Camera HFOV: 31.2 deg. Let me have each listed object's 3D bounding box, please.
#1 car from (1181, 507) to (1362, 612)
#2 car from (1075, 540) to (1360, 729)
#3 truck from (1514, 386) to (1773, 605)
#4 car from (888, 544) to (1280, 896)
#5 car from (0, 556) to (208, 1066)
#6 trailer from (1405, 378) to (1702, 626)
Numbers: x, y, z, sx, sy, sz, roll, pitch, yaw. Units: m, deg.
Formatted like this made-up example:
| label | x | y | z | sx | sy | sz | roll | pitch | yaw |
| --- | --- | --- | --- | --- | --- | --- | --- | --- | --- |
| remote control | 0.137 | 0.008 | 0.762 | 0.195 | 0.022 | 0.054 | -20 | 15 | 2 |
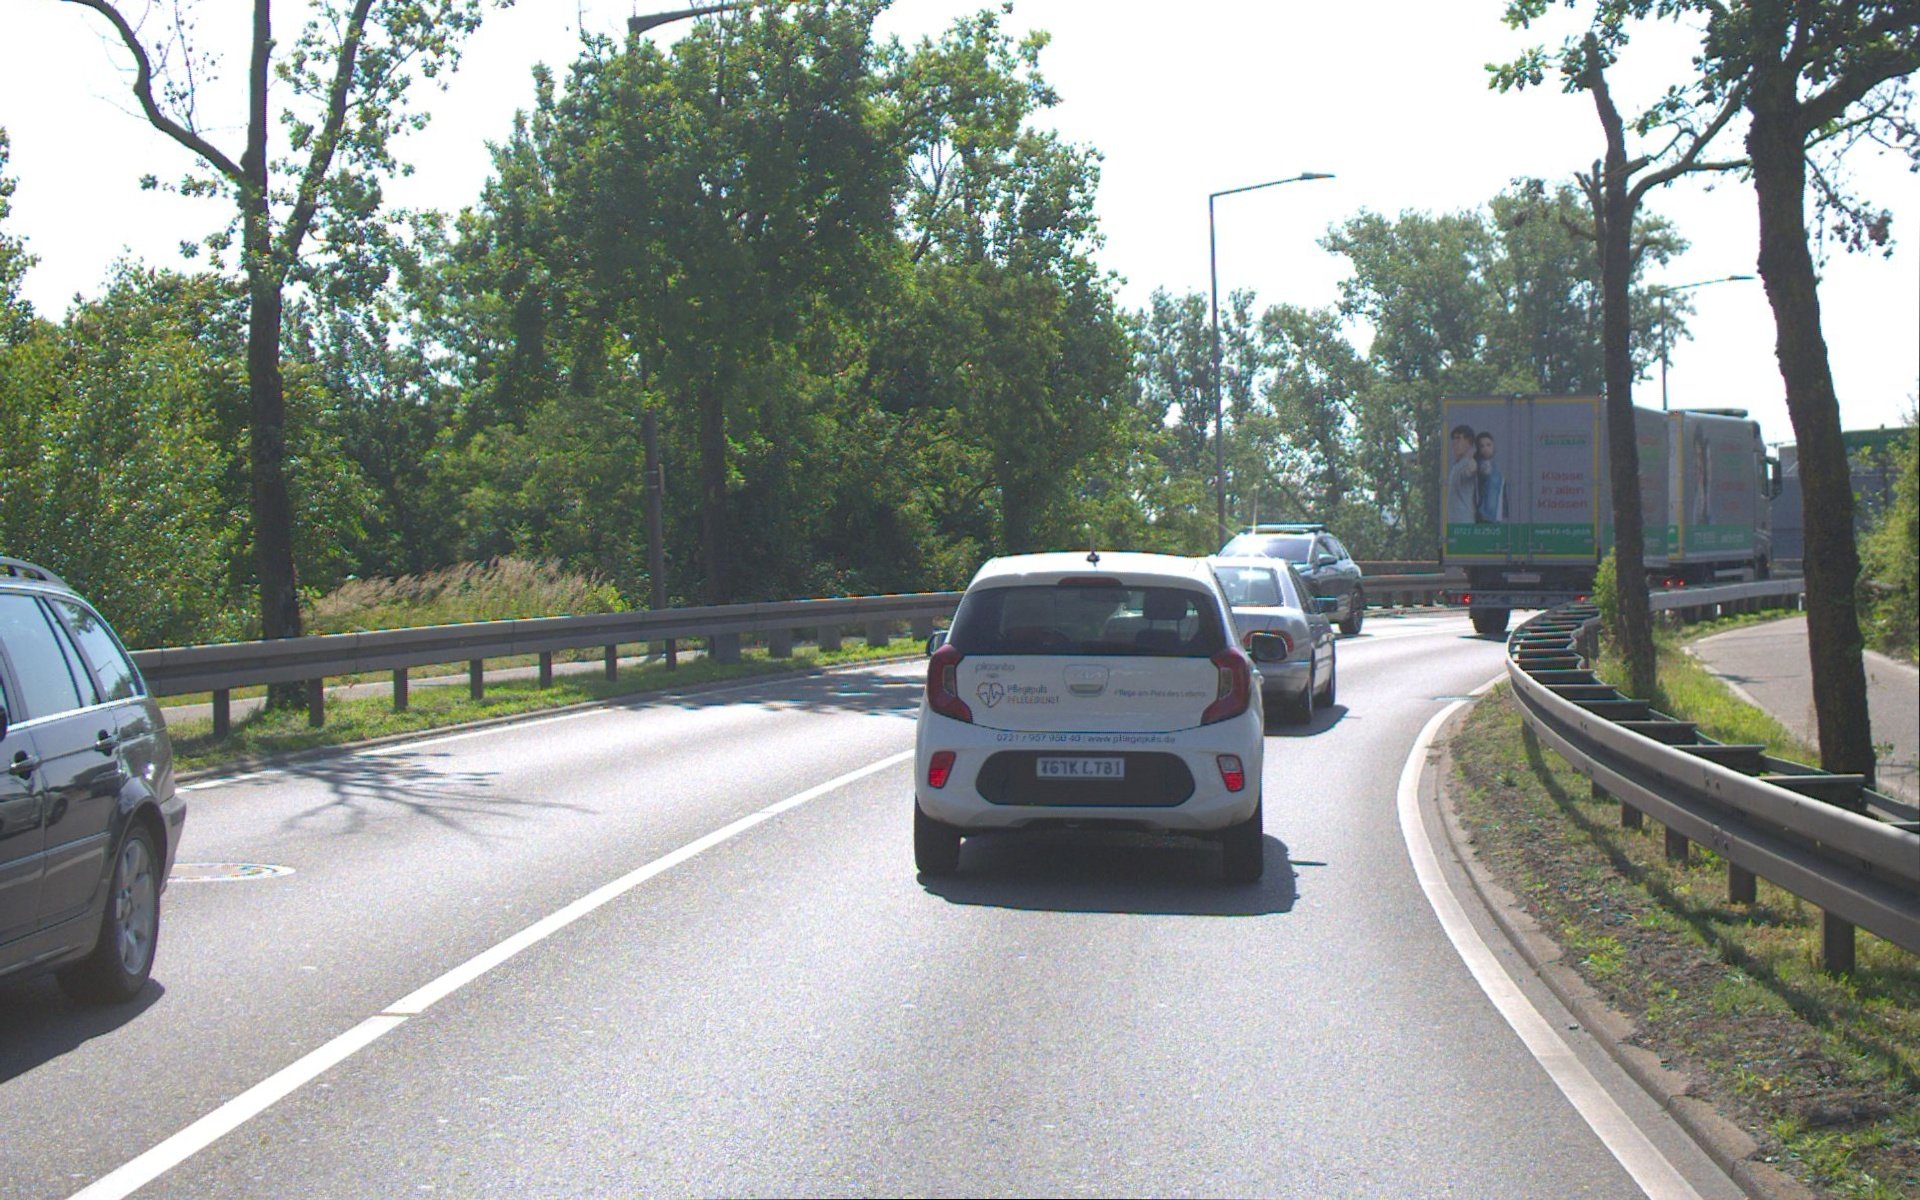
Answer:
| label | x | y | z | sx | sy | sz | roll | pitch | yaw |
| --- | --- | --- | --- | --- | --- | --- | --- | --- | --- |
| car | 4.794 | -0.639 | 52.441 | 1.932 | 1.528 | 4.114 | 1 | 1 | 17 |
| car | 2.348 | 0.234 | 30.132 | 1.940 | 1.481 | 4.898 | 1 | 1 | 11 |
| truck | 12.772 | -2.015 | 63.648 | 3.264 | 3.745 | 8.362 | 2 | 3 | 21 |
| car | 0.693 | 0.494 | 17.140 | 1.702 | 1.489 | 4.000 | 1 | 1 | 4 |
| car | -3.564 | 0.584 | 9.836 | 1.702 | 1.443 | 4.120 | 1 | 1 | 3 |
| trailer | 9.849 | -1.680 | 56.291 | 3.228 | 3.745 | 7.817 | 2 | 3 | 21 |
